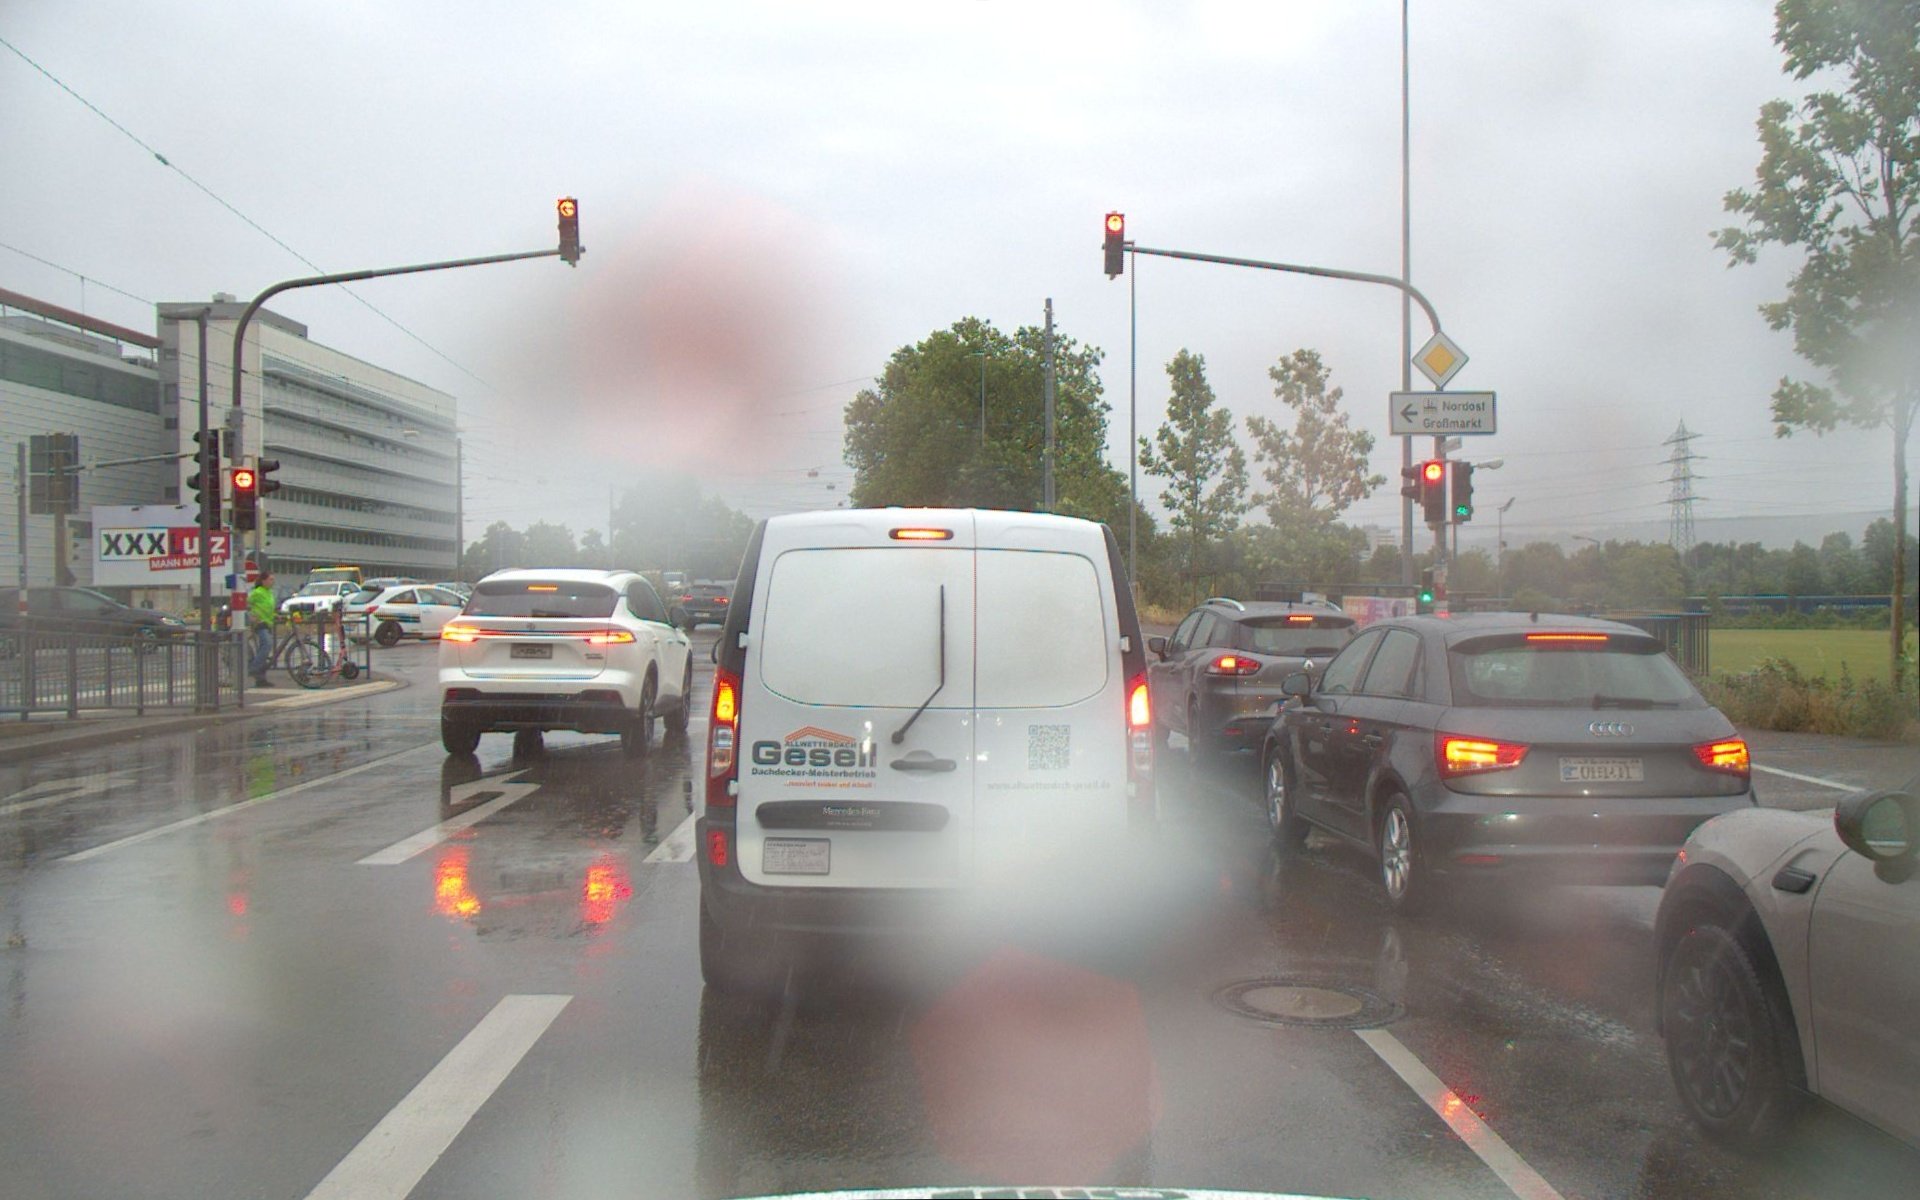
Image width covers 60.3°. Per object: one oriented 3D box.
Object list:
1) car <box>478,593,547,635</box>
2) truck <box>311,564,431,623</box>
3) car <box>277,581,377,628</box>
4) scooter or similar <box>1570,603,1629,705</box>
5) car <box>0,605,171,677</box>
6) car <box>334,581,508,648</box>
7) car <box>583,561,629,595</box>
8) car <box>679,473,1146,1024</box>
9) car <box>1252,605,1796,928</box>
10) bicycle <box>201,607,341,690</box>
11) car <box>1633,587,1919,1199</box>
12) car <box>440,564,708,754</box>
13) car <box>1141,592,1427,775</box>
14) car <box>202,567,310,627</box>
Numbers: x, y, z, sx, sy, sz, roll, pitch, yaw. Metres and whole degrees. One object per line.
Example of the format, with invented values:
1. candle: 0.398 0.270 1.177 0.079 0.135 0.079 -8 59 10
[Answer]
1. car: -20.812 0.644 77.089 1.889 1.859 4.002 1 0 4
2. truck: -24.834 -0.234 70.131 2.303 2.319 7.632 1 0 0
3. car: -21.676 0.150 56.778 1.662 1.518 3.878 1 0 5
4. scooter or similar: 7.587 0.624 19.662 0.240 1.178 1.186 1 0 1
5. car: -18.518 0.868 34.903 3.307 1.447 1.454 1 0 -28
6. car: -13.026 0.357 40.100 1.593 1.530 3.688 1 -1 45
7. car: -22.178 -1.356 103.696 1.952 2.049 4.000 1 0 1
8. car: -0.181 0.498 7.489 1.534 1.819 3.999 0 0 -1
9. car: 2.759 0.728 8.942 1.596 1.368 3.622 1 0 -2
10. bicycle: -9.694 0.678 23.287 1.716 1.052 0.414 4 -1 -3
11. car: 2.932 0.754 3.203 1.679 1.534 3.622 1 0 -2
12. car: -3.564 0.473 16.027 1.694 1.562 4.296 1 1 -2
13. car: 2.885 0.684 15.570 1.822 1.453 3.806 1 1 -2
14. car: -25.300 -0.107 59.581 1.952 2.049 4.002 1 0 3
